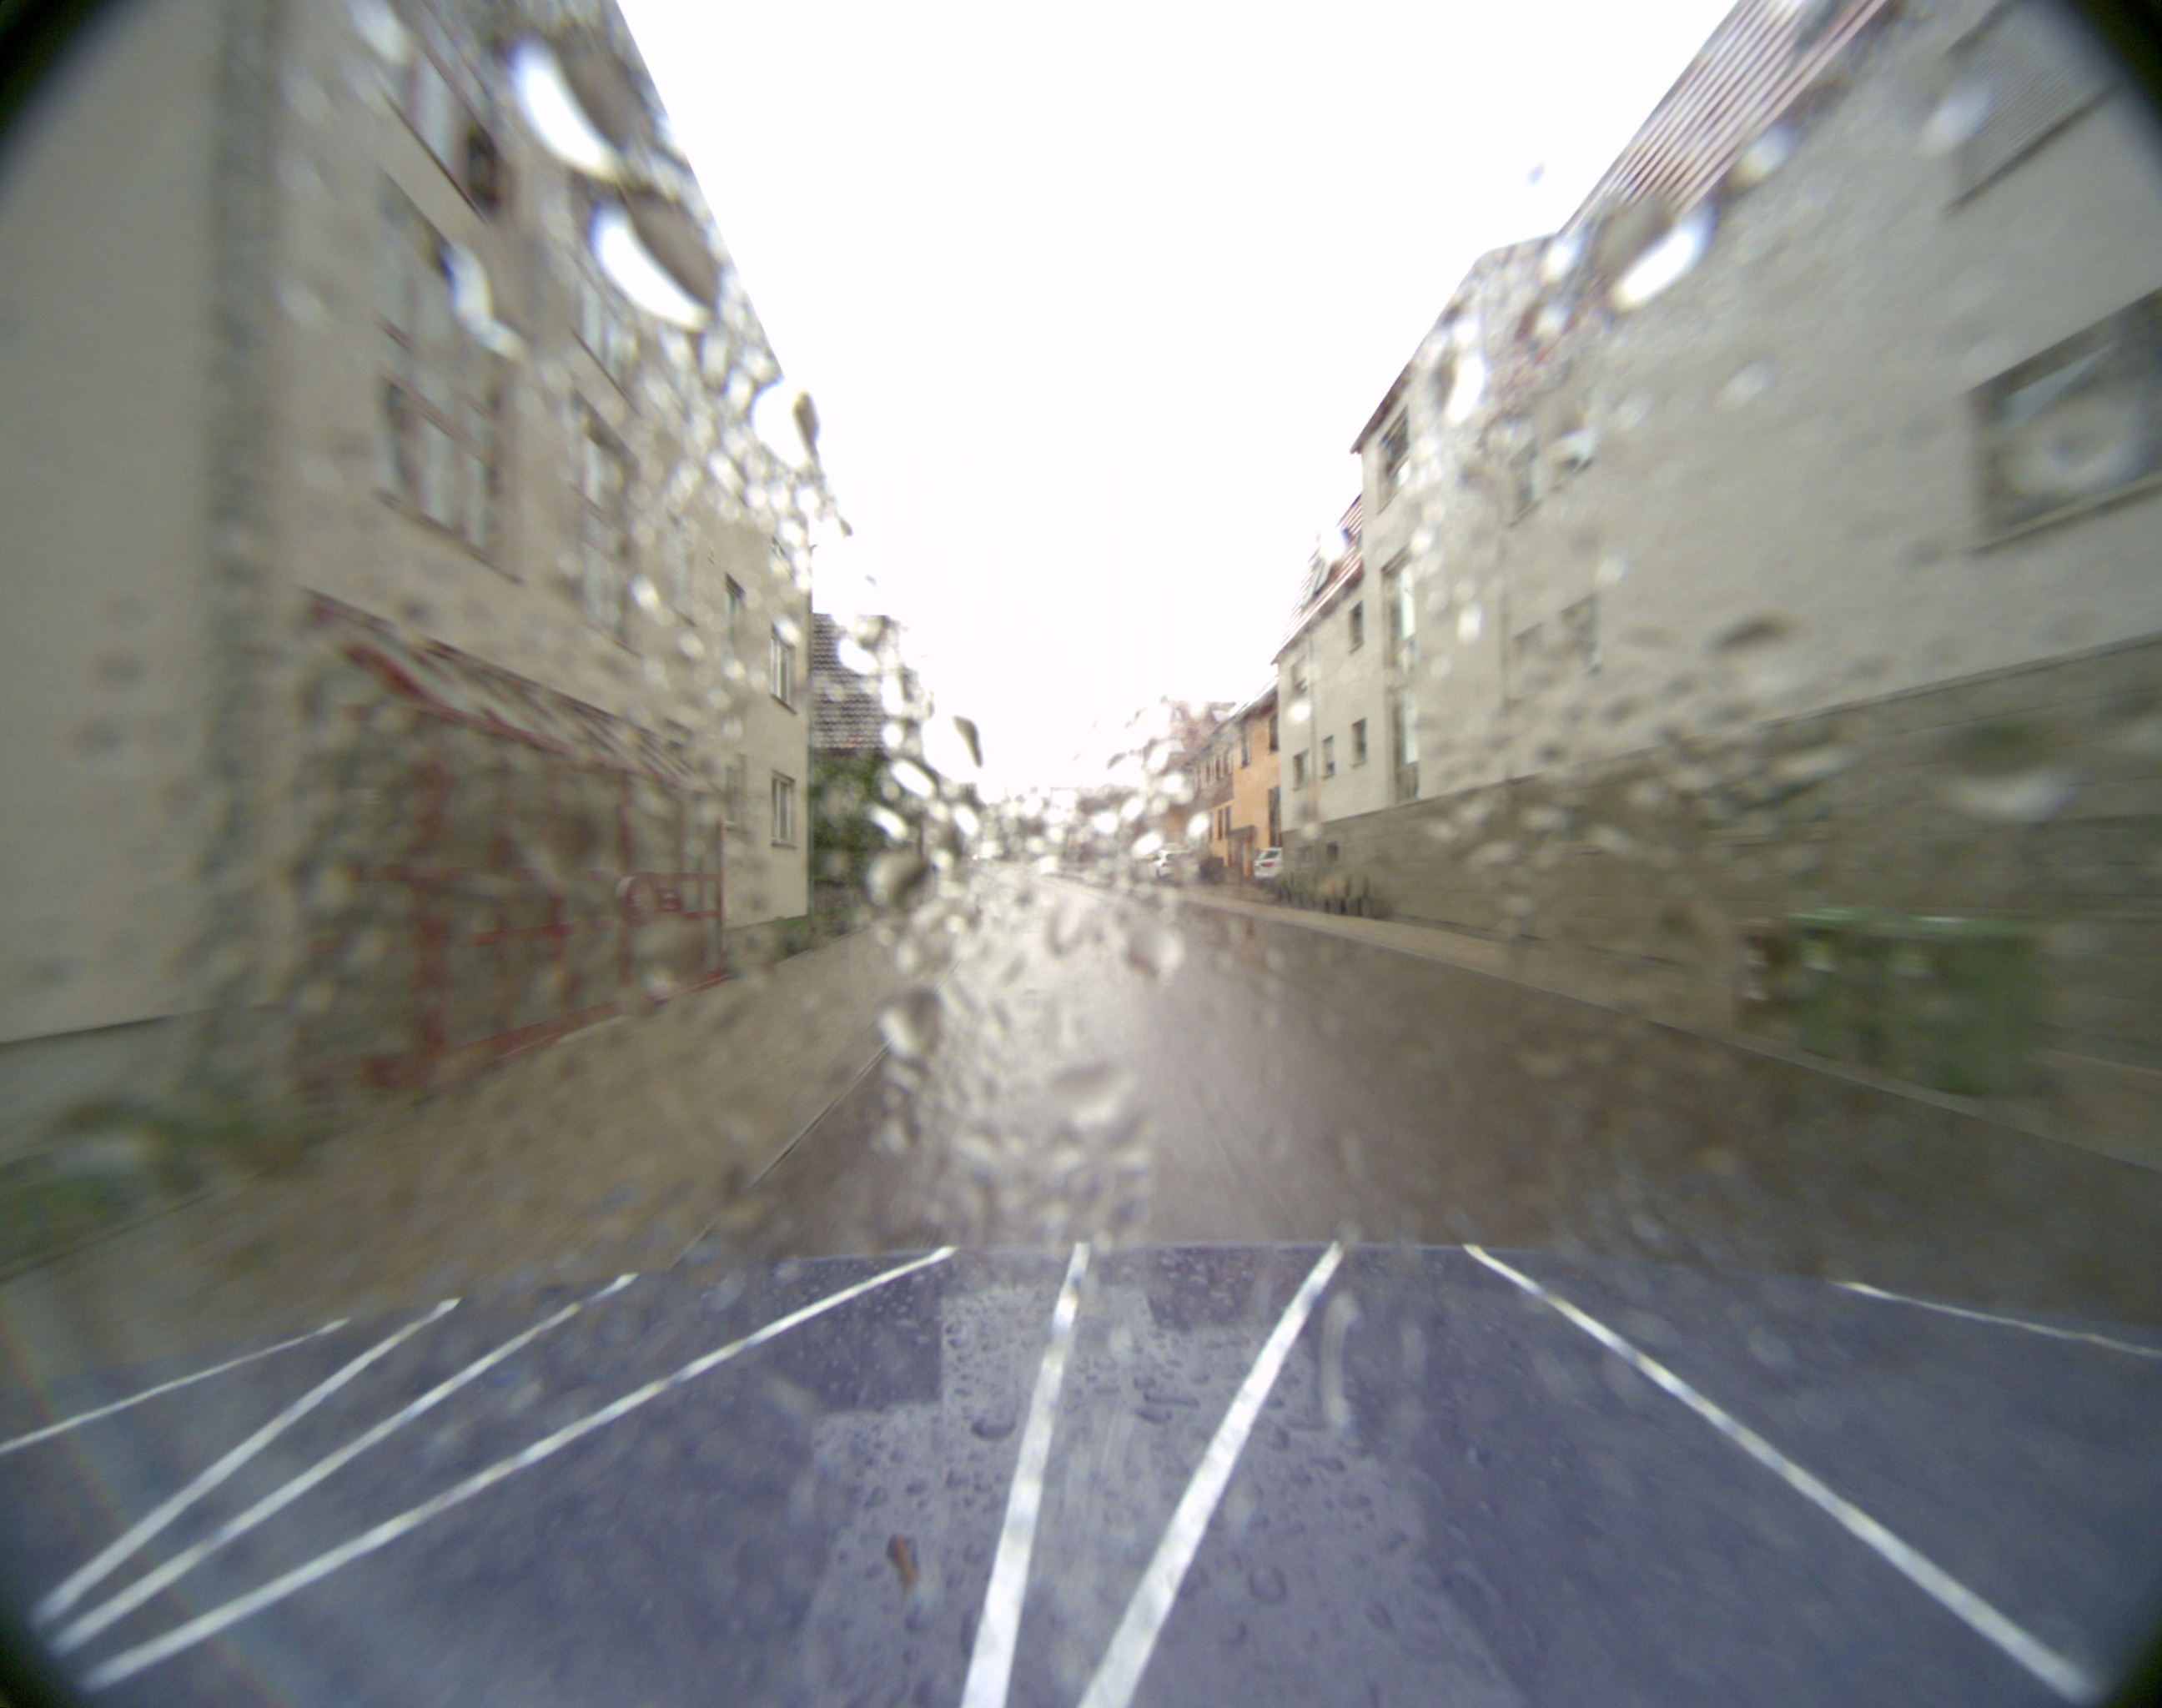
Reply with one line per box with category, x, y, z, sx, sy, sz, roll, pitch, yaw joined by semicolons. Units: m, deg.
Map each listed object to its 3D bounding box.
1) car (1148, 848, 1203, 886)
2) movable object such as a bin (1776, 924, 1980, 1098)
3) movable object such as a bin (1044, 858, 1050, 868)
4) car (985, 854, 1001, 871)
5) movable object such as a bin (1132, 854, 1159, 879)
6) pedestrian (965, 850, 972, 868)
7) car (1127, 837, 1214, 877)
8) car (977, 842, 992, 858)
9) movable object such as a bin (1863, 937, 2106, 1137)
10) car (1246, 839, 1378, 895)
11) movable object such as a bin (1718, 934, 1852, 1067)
car;4.520;0.601;37.025;1.819;1.696;4.615;-1;0;-3
movable object such as a bin;5.557;1.064;5.342;0.683;1.060;0.694;-2;1;1
movable object such as a bin;-3.498;0.926;78.318;0.522;1.020;0.414;0;1;-7
car;-10.422;1.007;90.183;1.828;1.964;4.513;0;1;-7
movable object such as a bin;3.539;0.703;41.852;1.290;1.360;0.996;0;0;-10
pedestrian;-10.166;0.427;68.577;0.656;1.572;0.436;1;1;-8
car;5.224;0.168;44.388;4.525;1.967;1.998;-4;-1;-16
car;-13.395;-0.556;105.801;1.712;2.089;3.936;-2;0;-12
movable object such as a bin;5.461;1.074;4.637;0.683;1.039;0.661;-2;1;1
car;8.180;0.443;27.128;3.999;1.660;1.877;-4;1;-6
movable object such as a bin;5.540;1.134;6.005;0.507;0.917;0.579;-2;1;-1
